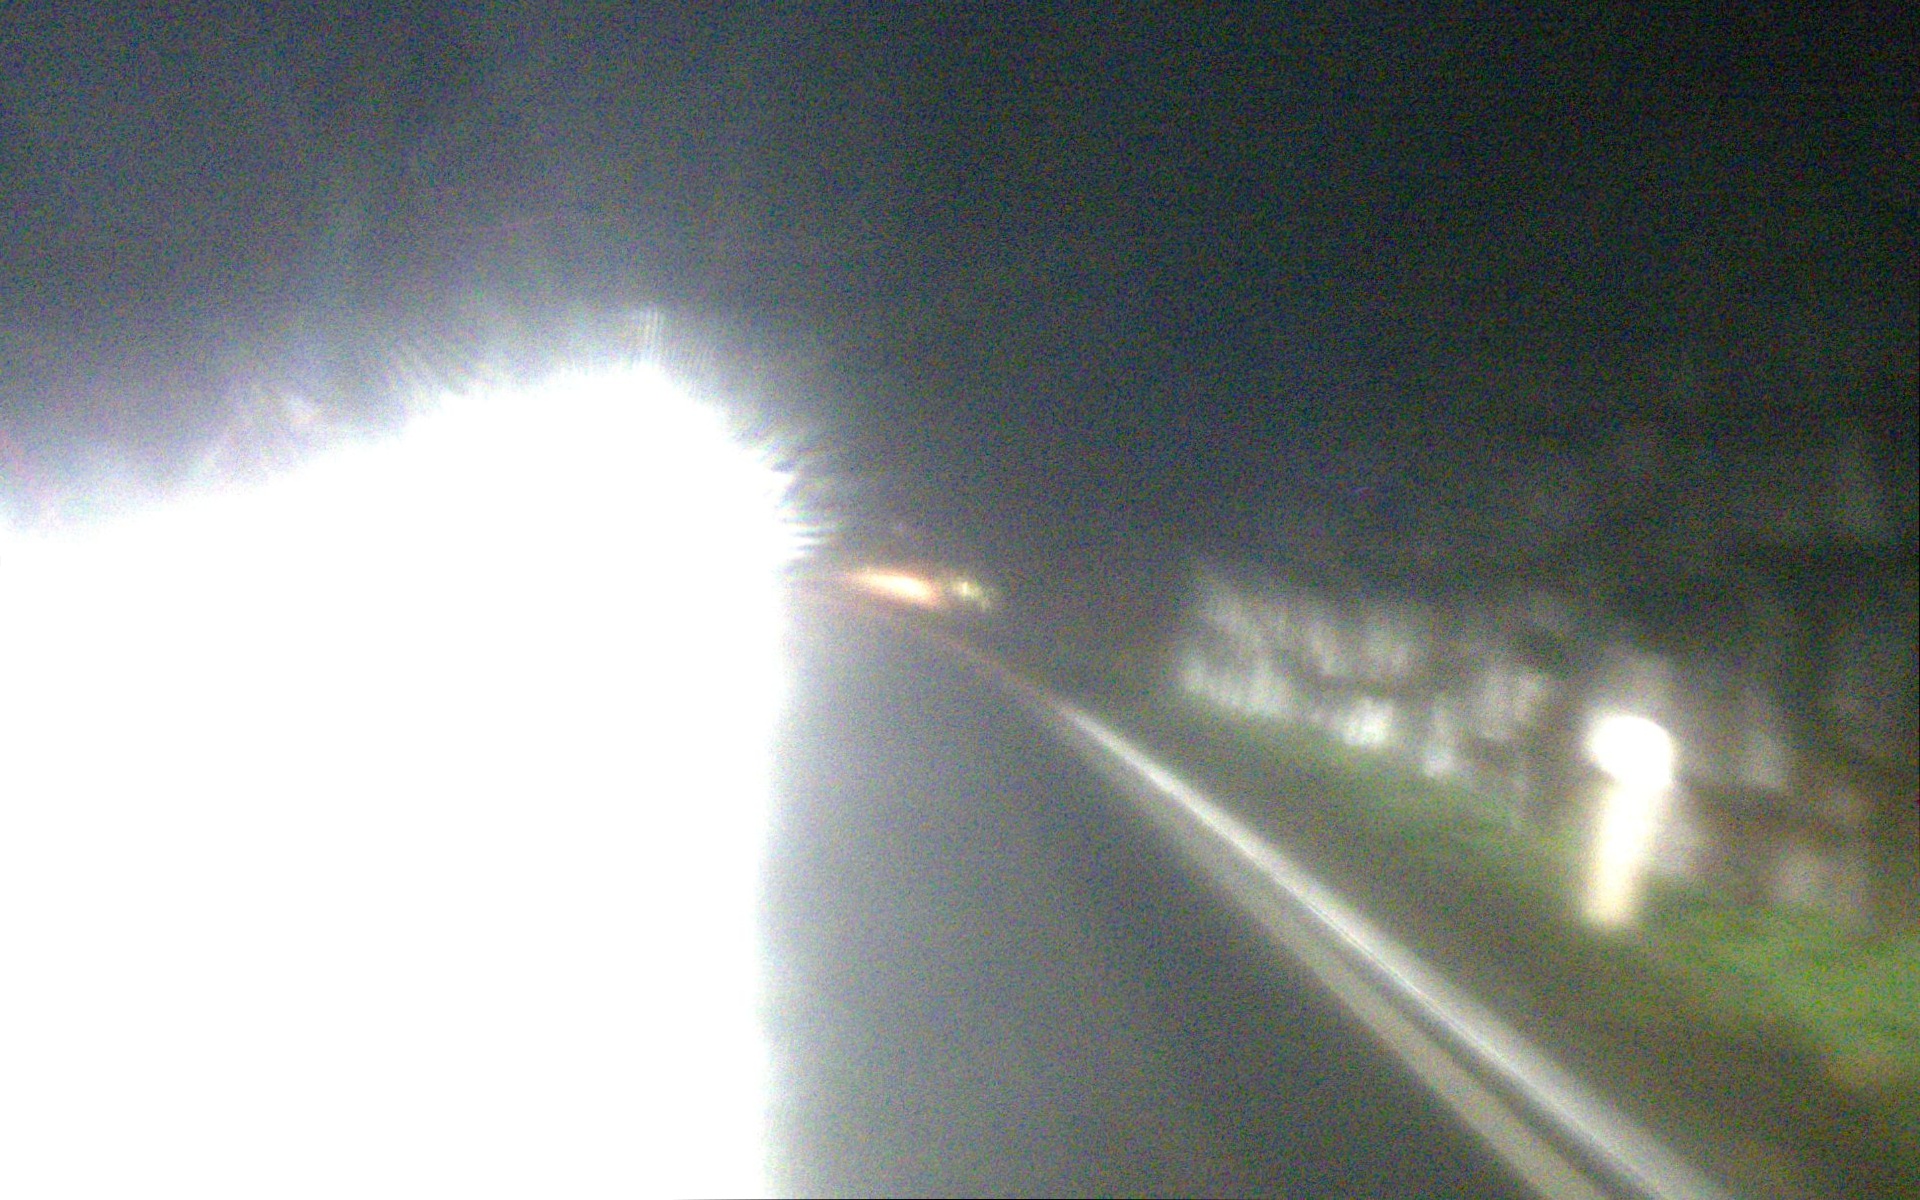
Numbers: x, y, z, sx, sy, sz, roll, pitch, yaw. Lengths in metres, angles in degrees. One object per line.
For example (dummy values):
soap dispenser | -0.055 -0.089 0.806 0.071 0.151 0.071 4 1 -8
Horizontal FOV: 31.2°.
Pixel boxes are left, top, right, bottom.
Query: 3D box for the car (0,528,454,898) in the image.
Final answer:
car | -3.663 0.445 16.774 1.885 1.570 4.050 1 1 -2

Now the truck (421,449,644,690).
truck | -4.772 -0.372 39.075 2.137 2.526 5.280 1 1 -3
